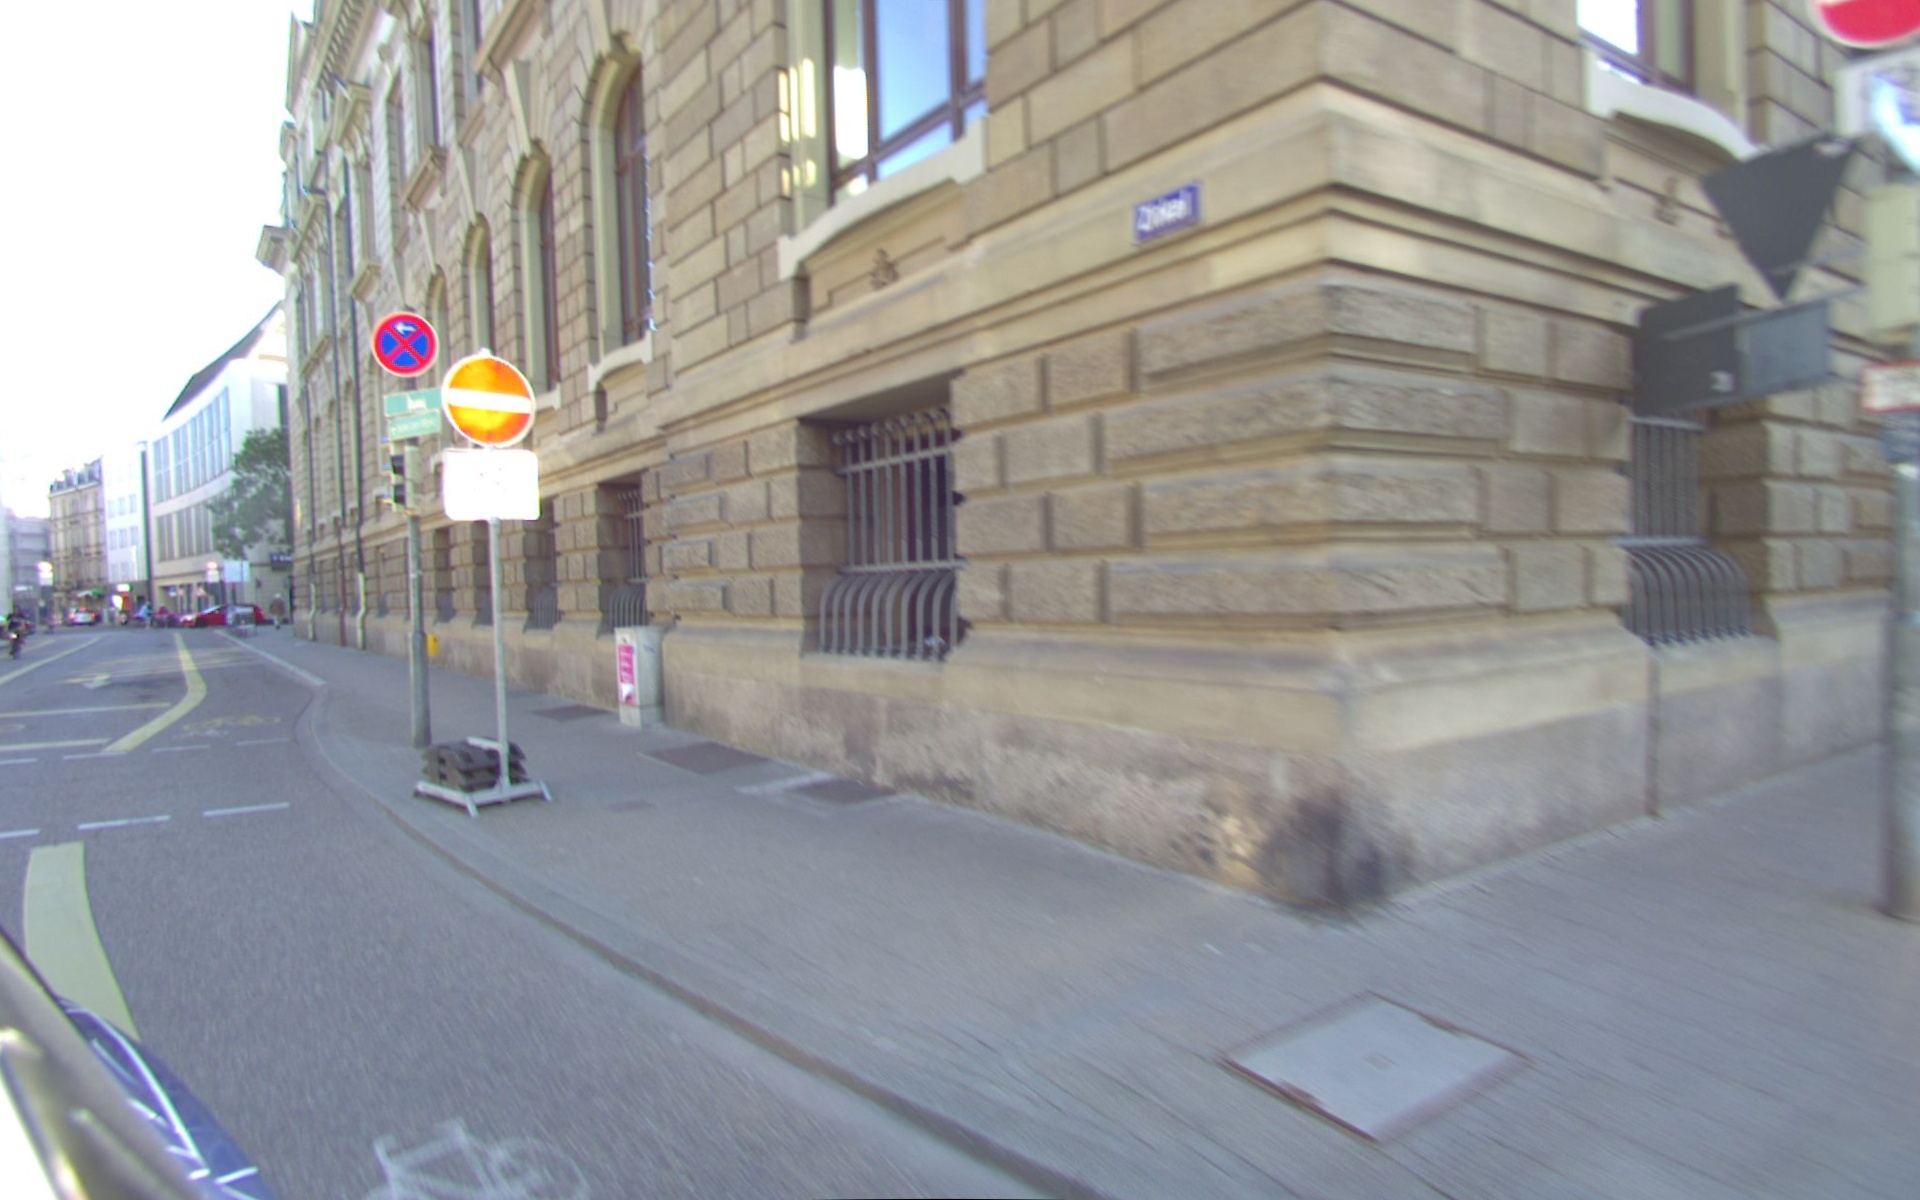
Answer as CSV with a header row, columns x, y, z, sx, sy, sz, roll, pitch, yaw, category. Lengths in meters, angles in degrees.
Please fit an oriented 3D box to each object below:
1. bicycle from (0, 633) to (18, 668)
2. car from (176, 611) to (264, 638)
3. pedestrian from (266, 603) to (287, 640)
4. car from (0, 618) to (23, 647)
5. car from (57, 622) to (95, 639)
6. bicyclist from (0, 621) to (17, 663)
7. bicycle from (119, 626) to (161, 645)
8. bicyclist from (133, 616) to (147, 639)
x,y,z,sx,sy,sz,roll,pitch,yaw,category
-30.019,1.583,31.771,0.527,1.074,1.428,-3,1,-40,bicycle
-47.054,1.533,64.429,1.631,1.482,4.215,-2,1,39,car
-34.074,1.066,50.433,0.753,1.793,0.623,-3,1,-37,pedestrian
-52.679,1.831,53.584,4.183,1.502,1.861,-3,1,-32,car
-81.209,2.802,92.966,4.269,1.502,2.028,-2,1,41,car
-30.050,1.328,31.801,0.530,1.298,0.552,-3,1,-40,bicyclist
-47.559,2.047,58.726,1.844,0.916,0.536,-3,5,-39,bicycle
-47.553,1.571,58.689,0.603,1.298,0.539,-3,1,-39,bicyclist
